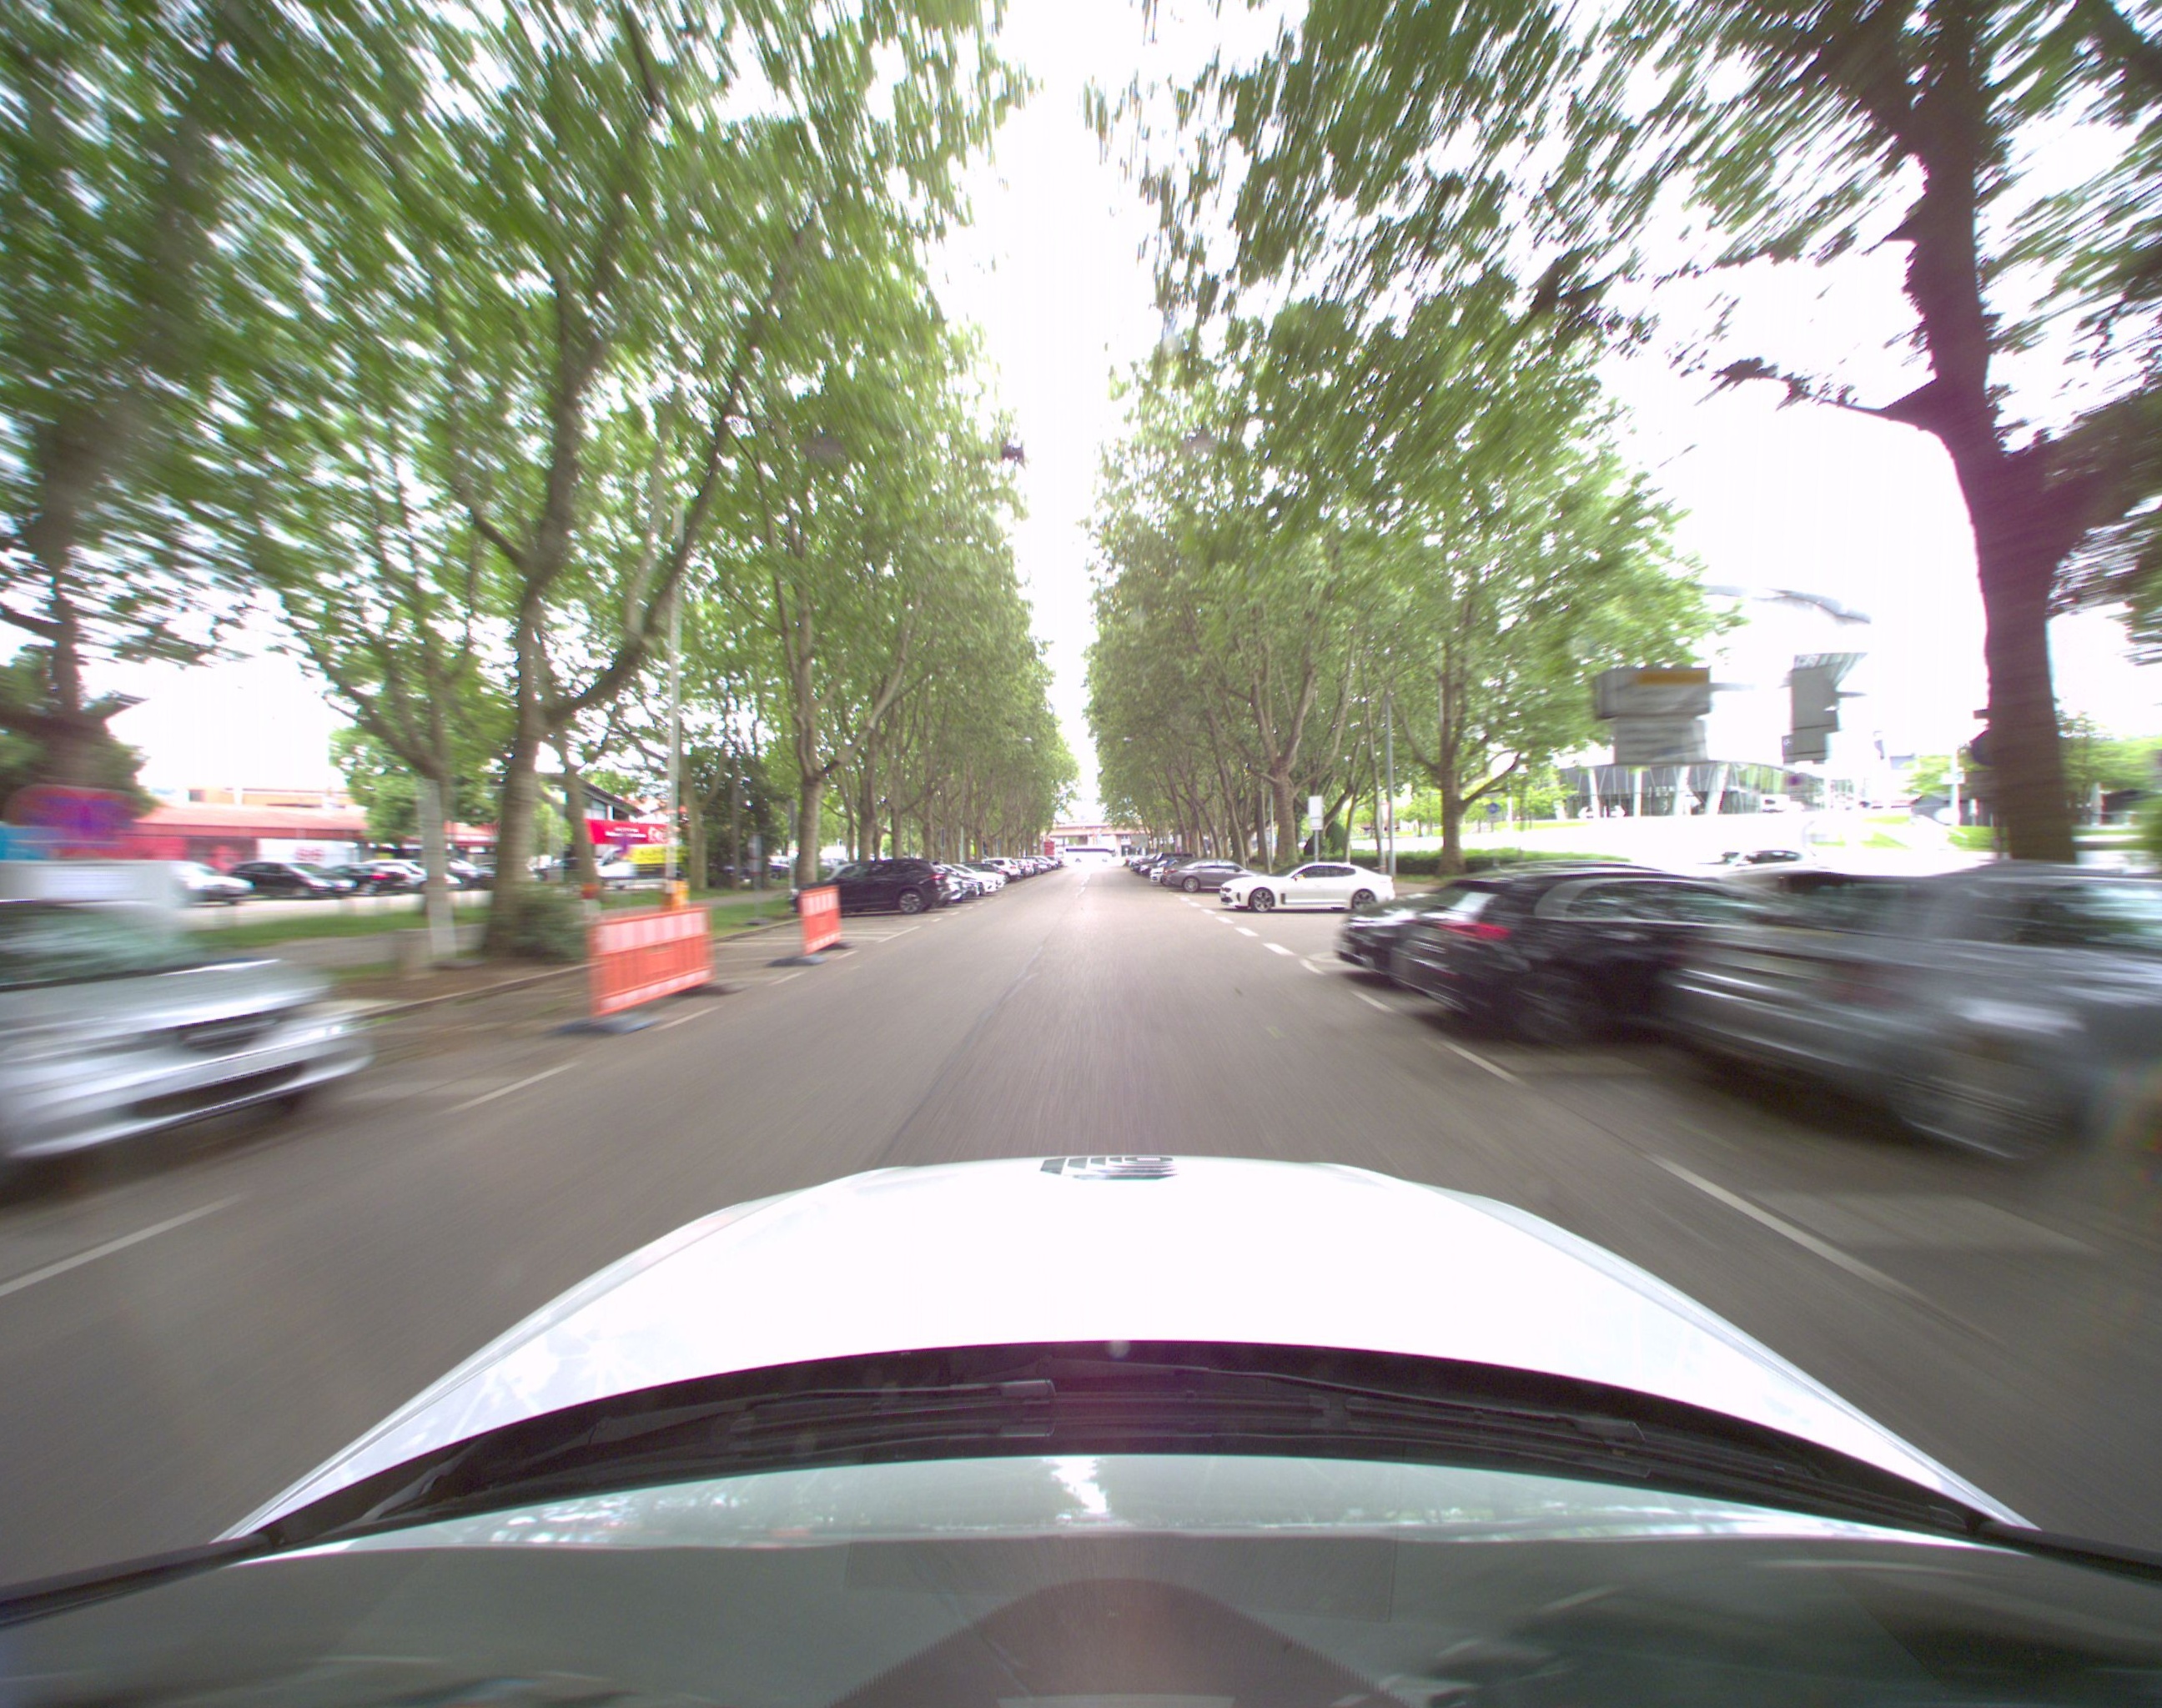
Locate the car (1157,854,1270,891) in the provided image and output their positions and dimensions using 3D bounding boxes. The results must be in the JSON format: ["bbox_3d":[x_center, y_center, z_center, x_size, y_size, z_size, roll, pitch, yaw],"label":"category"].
[{"bbox_3d":[5.514,0.770,34.318,4.551,1.486,2.003,0,0,6],"label":"car"}]

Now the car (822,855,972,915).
[{"bbox_3d":[-6.033,0.990,27.050,4.458,1.677,1.762,-3,0,-1],"label":"car"}]

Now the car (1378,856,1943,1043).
[{"bbox_3d":[4.840,0.750,7.171,3.906,1.452,1.555,0,0,0],"label":"car"}]

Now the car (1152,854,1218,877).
[{"bbox_3d":[6.761,0.740,53.145,4.037,1.468,1.730,0,0,-2],"label":"car"}]

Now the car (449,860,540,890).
[{"bbox_3d":[-32.083,1.139,44.584,3.963,1.590,1.698,0,0,9],"label":"car"}]

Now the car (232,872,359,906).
[{"bbox_3d":[-32.678,1.440,33.953,3.744,1.349,1.535,0,0,-2],"label":"car"}]

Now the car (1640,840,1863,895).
[{"bbox_3d":[19.469,0.377,23.814,4.916,1.402,1.999,-1,0,-1],"label":"car"}]

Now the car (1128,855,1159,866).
[{"bbox_3d":[8.825,0.973,115.844,4.360,1.523,1.732,0,0,2],"label":"car"}]

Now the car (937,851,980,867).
[{"bbox_3d":[-15.739,0.650,104.510,5.054,2.014,2.178,0,0,4],"label":"car"}]

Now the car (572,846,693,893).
[{"bbox_3d":[-22.024,0.750,40.065,5.062,2.232,1.535,0,0,-1],"label":"car"}]

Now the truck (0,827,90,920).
[{"bbox_3d":[-34.435,0.568,25.044,5.218,2.742,2.207,0,0,1],"label":"truck"}]

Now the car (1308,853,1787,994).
[{"bbox_3d":[5.295,0.746,9.726,4.644,1.452,1.926,1,0,0],"label":"car"}]

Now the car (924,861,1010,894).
[{"bbox_3d":[-5.541,1.128,39.869,3.794,1.330,1.665,-3,0,6],"label":"car"}]

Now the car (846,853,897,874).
[{"bbox_3d":[-20.273,0.915,78.980,4.331,2.014,2.178,0,0,4],"label":"car"}]

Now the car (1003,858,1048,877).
[{"bbox_3d":[-5.048,1.212,74.911,3.794,1.515,1.689,-3,0,6],"label":"car"}]

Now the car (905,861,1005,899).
[{"bbox_3d":[-5.314,1.092,34.569,3.794,1.354,1.665,-3,0,6],"label":"car"}]

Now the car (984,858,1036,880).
[{"bbox_3d":[-5.641,1.190,64.794,3.794,1.515,1.689,-3,0,6],"label":"car"}]

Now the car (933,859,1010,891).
[{"bbox_3d":[-6.009,1.139,44.873,3.794,1.484,1.665,-3,0,6],"label":"car"}]

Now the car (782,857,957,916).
[{"bbox_3d":[-6.259,0.950,24.534,4.650,1.427,1.999,-3,0,-1],"label":"car"}]

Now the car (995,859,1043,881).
[{"bbox_3d":[-5.286,1.348,69.873,3.794,1.690,1.689,-3,0,6],"label":"car"}]

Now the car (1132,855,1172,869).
[{"bbox_3d":[7.900,0.857,90.920,4.364,1.523,1.730,0,0,-2],"label":"car"}]

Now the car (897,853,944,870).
[{"bbox_3d":[-19.248,0.915,97.858,5.054,2.014,2.178,0,0,4],"label":"car"}]

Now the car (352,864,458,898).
[{"bbox_3d":[-32.272,1.278,38.946,3.744,1.590,1.535,0,0,-2],"label":"car"}]

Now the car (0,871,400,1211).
[{"bbox_3d":[-6.589,0.982,4.657,3.817,1.554,1.693,-3,0,-2],"label":"car"}]

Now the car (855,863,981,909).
[{"bbox_3d":[-5.876,1.146,29.703,4.154,1.381,1.871,-3,0,-1],"label":"car"}]

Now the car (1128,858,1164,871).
[{"bbox_3d":[7.836,1.230,98.406,4.360,1.523,1.732,0,0,2],"label":"car"}]

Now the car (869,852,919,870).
[{"bbox_3d":[-20.922,0.770,91.186,5.054,2.014,2.178,0,0,4],"label":"car"}]

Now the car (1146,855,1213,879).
[{"bbox_3d":[6.162,0.809,51.184,4.037,1.468,1.730,0,0,-2],"label":"car"}]

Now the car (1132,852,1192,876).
[{"bbox_3d":[6.103,0.741,61.737,4.364,1.751,1.730,0,0,-2],"label":"car"}]

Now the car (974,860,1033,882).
[{"bbox_3d":[-5.425,1.159,57.212,3.794,1.296,1.789,-3,0,6],"label":"car"}]

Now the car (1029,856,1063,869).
[{"bbox_3d":[-4.160,0.967,96.728,3.796,1.515,1.688,-1,0,4],"label":"car"}]

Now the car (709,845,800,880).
[{"bbox_3d":[-21.332,0.559,53.389,5.054,2.232,2.178,0,0,4],"label":"car"}]

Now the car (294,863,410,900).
[{"bbox_3d":[-32.610,1.219,36.503,3.744,1.590,1.535,0,0,-2],"label":"car"}]

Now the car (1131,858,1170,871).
[{"bbox_3d":[8.000,1.207,94.421,4.364,1.523,1.730,0,0,-2],"label":"car"}]

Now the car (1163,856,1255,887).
[{"bbox_3d":[5.999,0.817,38.466,4.154,1.442,1.734,0,0,6],"label":"car"}]

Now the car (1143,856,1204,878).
[{"bbox_3d":[6.413,0.882,56.693,4.037,1.468,1.730,0,0,-2],"label":"car"}]

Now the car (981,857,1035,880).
[{"bbox_3d":[-5.601,1.087,62.718,3.794,1.515,1.689,-3,0,6],"label":"car"}]

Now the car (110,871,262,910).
[{"bbox_3d":[-32.251,1.303,29.406,3.743,1.349,1.535,0,0,-1],"label":"car"}]

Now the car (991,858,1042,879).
[{"bbox_3d":[-5.298,1.197,67.001,3.794,1.515,1.689,-3,0,6],"label":"car"}]

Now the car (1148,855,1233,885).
[{"bbox_3d":[5.539,0.802,41.443,4.154,1.442,1.734,0,0,6],"label":"car"}]

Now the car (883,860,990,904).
[{"bbox_3d":[-5.637,1.083,32.045,3.802,1.484,1.661,-3,0,-1],"label":"car"}]

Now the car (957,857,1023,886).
[{"bbox_3d":[-5.773,1.098,52.075,3.794,1.602,1.789,-3,0,6],"label":"car"}]

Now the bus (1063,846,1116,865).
[{"bbox_3d":[1.993,0.378,184.334,11.494,3.971,2.463,-2,-1,12],"label":"bus"}]

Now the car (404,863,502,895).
[{"bbox_3d":[-32.281,1.258,41.898,3.963,1.590,1.698,0,0,9],"label":"car"}]

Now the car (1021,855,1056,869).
[{"bbox_3d":[-4.912,0.894,94.493,3.796,1.515,1.688,-1,0,4],"label":"car"}]

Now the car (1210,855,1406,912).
[{"bbox_3d":[6.321,0.808,22.913,4.931,1.402,1.994,2,0,-10],"label":"car"}]

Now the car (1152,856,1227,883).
[{"bbox_3d":[6.150,0.868,46.378,4.154,1.442,1.734,0,0,6],"label":"car"}]

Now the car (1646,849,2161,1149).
[{"bbox_3d":[5.629,0.726,4.896,3.414,1.508,1.555,0,0,0],"label":"car"}]

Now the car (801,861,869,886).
[{"bbox_3d":[-20.752,1.630,68.794,5.054,2.014,2.178,0,0,4],"label":"car"}]
